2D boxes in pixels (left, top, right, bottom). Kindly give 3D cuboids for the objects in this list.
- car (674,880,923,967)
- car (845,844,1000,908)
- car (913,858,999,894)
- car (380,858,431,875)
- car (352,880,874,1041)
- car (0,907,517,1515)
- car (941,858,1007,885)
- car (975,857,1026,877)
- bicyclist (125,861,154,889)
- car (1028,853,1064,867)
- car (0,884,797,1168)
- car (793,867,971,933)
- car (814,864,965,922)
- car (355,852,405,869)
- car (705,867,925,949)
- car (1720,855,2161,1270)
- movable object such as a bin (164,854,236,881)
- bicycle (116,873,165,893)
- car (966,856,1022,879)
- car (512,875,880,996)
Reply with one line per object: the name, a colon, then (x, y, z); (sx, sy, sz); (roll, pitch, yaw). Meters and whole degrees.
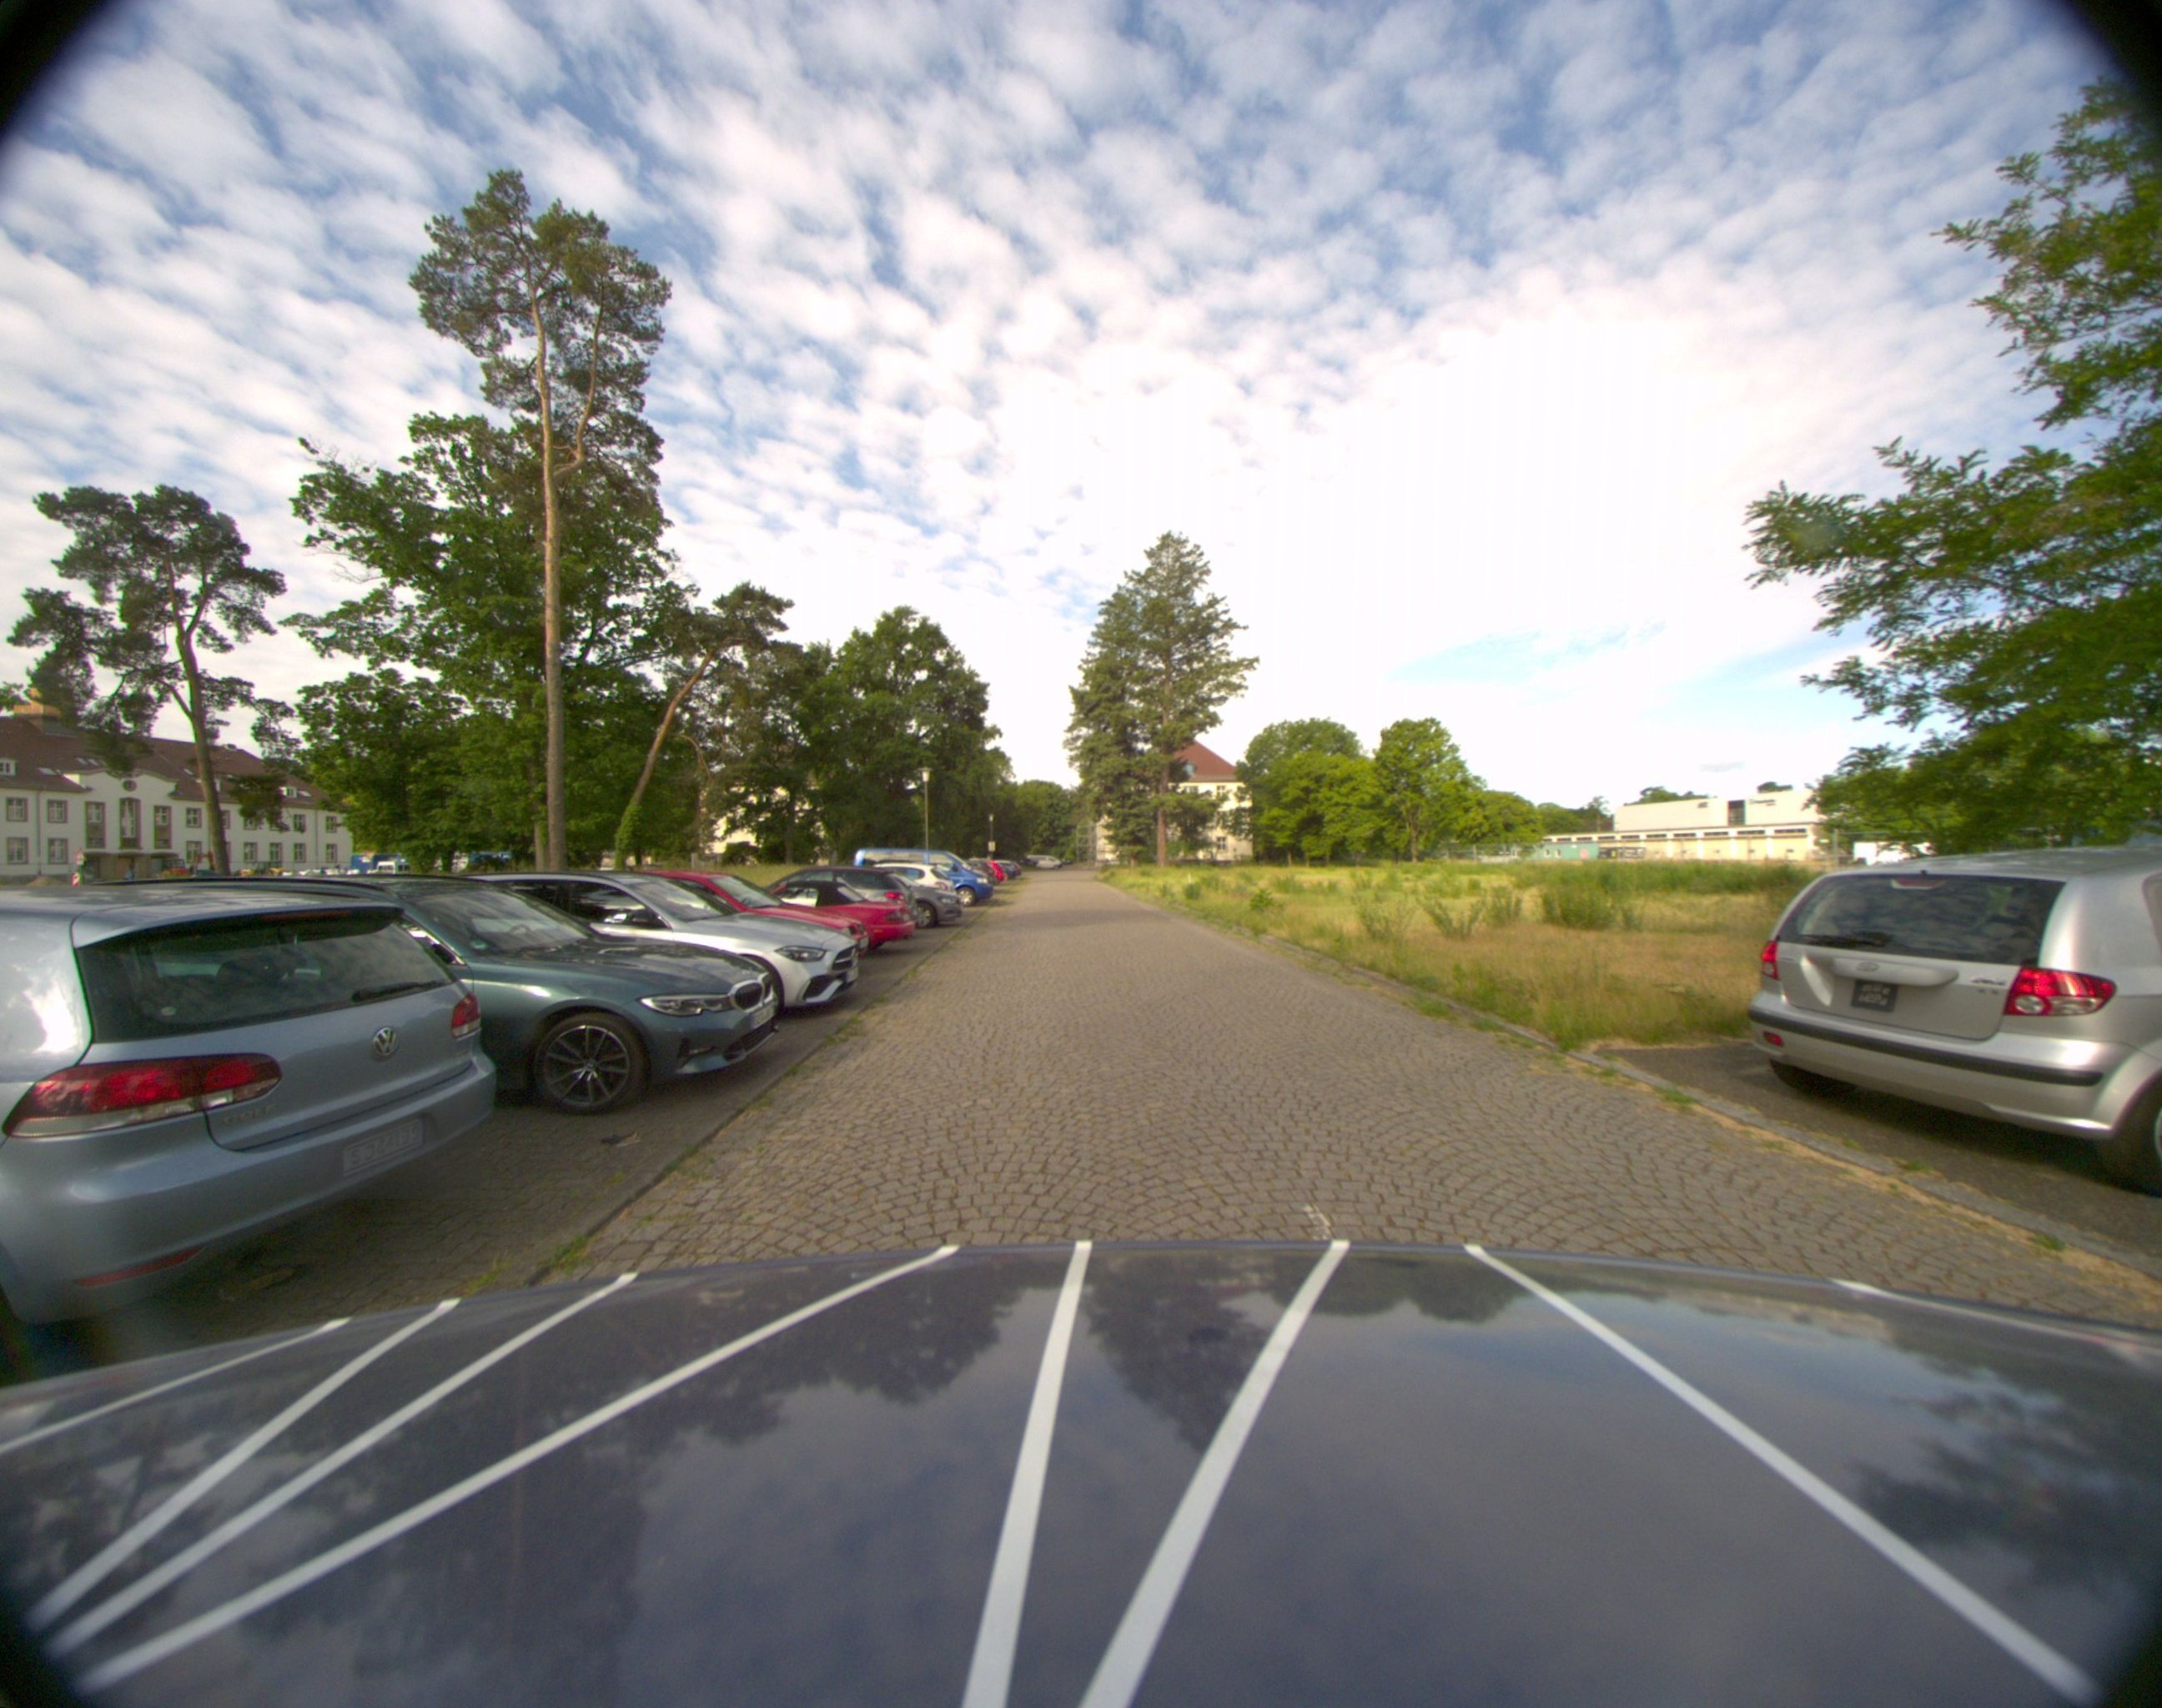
car: (-4.572, 1.111, 12.670); (3.555, 1.279, 1.608); (-1, -1, -1)
car: (-5.418, 0.738, 26.477); (4.955, 2.011, 2.060); (1, 0, -1)
car: (-5.724, 0.981, 35.115); (3.839, 1.592, 1.580); (-1, 0, -6)
car: (-71.202, 1.318, 80.162); (1.847, 1.674, 3.936); (1, 0, 1)
car: (-4.562, 1.008, 7.983); (4.338, 1.420, 1.766); (0, 0, -3)
car: (-4.560, 1.007, 2.646); (3.854, 1.462, 1.641); (-1, 0, -5)
car: (-6.352, 1.030, 45.447); (3.839, 1.516, 1.580); (-1, 0, -6)
car: (-6.414, 1.058, 60.788); (3.837, 1.520, 1.674); (-1, 0, 2)
bicyclist: (-59.745, 1.334, 48.203); (0.668, 1.724, 0.844); (-3, 1, 1)
car: (-5.030, 0.820, 109.464); (5.131, 2.002, 1.804); (-1, 0, -4)
car: (-4.583, 1.011, 5.292); (4.526, 1.474, 1.807); (-1, 0, -5)
car: (-4.651, 1.064, 18.142); (3.781, 1.457, 1.642); (-1, 0, 0)
car: (-5.235, 1.053, 21.057); (3.762, 1.490, 1.581); (-1, 0, 0)
car: (-85.241, 0.813, 92.481); (2.218, 2.002, 4.001); (-1, 0, 3)
car: (-5.211, 1.032, 15.251); (3.838, 1.494, 1.604); (-1, 0, -2)
car: (5.782, 0.813, 3.969); (3.587, 1.467, 1.646); (-3, 1, -5)
movable object such as a bin: (-93.462, 1.357, 80.691); (2.000, 2.752, 5.200); (-1, 0, -7)
bicycle: (-59.748, 1.810, 48.285); (0.638, 1.201, 1.981); (-1, 0, 1)
car: (-6.362, 0.992, 55.898); (3.837, 1.609, 1.581); (-1, 0, 2)
car: (-5.036, 1.042, 10.391); (4.118, 1.415, 1.719); (-1, 0, -2)
